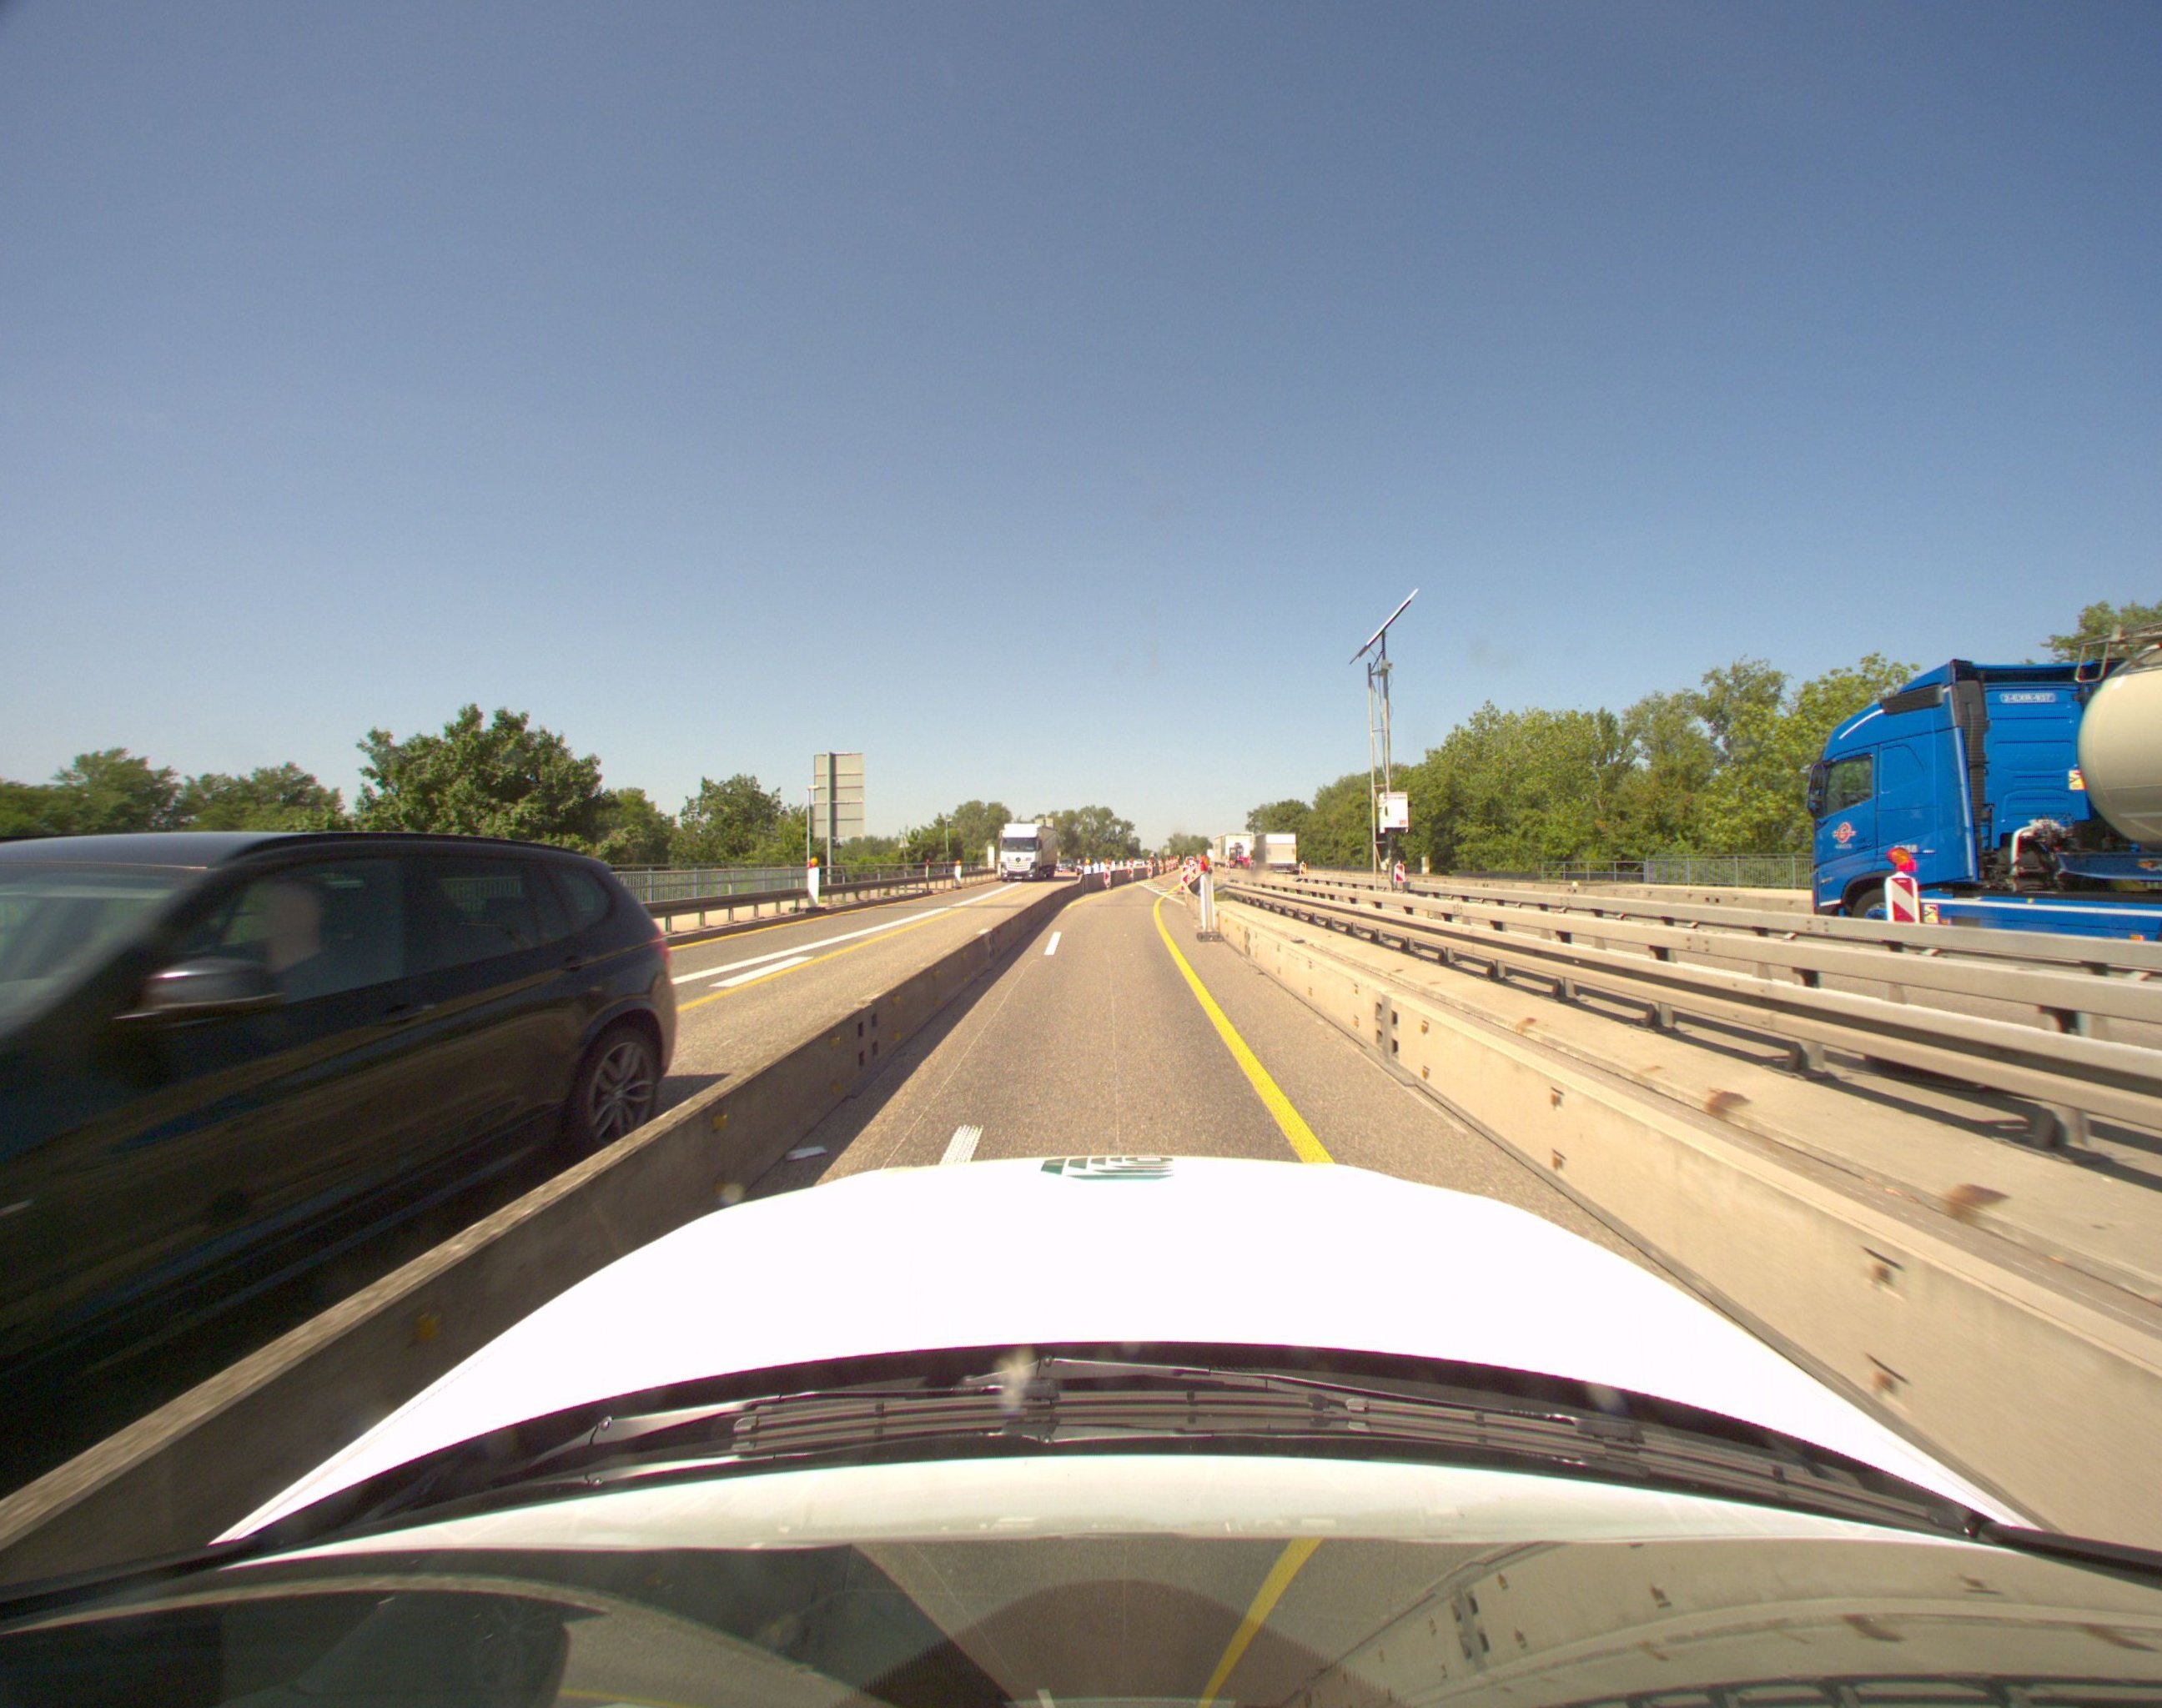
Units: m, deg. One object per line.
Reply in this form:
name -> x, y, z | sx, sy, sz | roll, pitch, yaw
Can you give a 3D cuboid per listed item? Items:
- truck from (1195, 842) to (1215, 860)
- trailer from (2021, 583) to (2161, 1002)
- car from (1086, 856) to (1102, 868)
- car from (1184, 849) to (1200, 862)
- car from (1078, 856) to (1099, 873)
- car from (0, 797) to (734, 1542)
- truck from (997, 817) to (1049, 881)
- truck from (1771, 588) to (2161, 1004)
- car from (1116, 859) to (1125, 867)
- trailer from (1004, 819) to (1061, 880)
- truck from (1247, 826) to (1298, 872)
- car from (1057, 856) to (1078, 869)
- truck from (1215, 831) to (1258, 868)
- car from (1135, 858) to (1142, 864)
truck -> 31.637, -0.715, 208.245 | 4.201, 4.267, 10.252 | -2, 0, 4
trailer -> 11.463, -0.655, 2.910 | 2.680, 4.137, 12.637 | -2, 0, 6
car -> 1.595, 0.996, 99.198 | 1.682, 1.376, 4.277 | -1, 0, 3
car -> 16.019, 0.263, 117.612 | 1.809, 1.776, 4.002 | -2, 0, 2
car -> 0.693, 0.943, 76.304 | 1.783, 1.568, 3.875 | -1, 0, 2
car -> -3.249, 0.705, 2.888 | 1.855, 1.632, 4.569 | -1, 0, 3
truck -> -3.895, -0.313, 56.200 | 2.738, 4.136, 6.420 | -2, -1, 3
truck -> 12.186, -0.595, 9.450 | 2.680, 4.102, 7.313 | -2, -1, 6
car -> 8.640, 1.951, 177.820 | 1.729, 1.476, 4.651 | -1, 0, 5
trailer -> -3.519, -0.280, 63.057 | 2.750, 4.136, 14.540 | -2, 0, 3
truck -> 15.042, -0.374, 64.461 | 2.624, 3.427, 7.237 | 0, 0, 2
car -> -1.515, 0.969, 93.751 | 1.923, 1.508, 4.476 | -1, 0, 5
truck -> 16.568, -0.444, 87.400 | 3.375, 3.774, 7.237 | -2, 0, 2
car -> 14.292, 1.736, 201.570 | 1.710, 1.397, 4.527 | 0, 0, 6
